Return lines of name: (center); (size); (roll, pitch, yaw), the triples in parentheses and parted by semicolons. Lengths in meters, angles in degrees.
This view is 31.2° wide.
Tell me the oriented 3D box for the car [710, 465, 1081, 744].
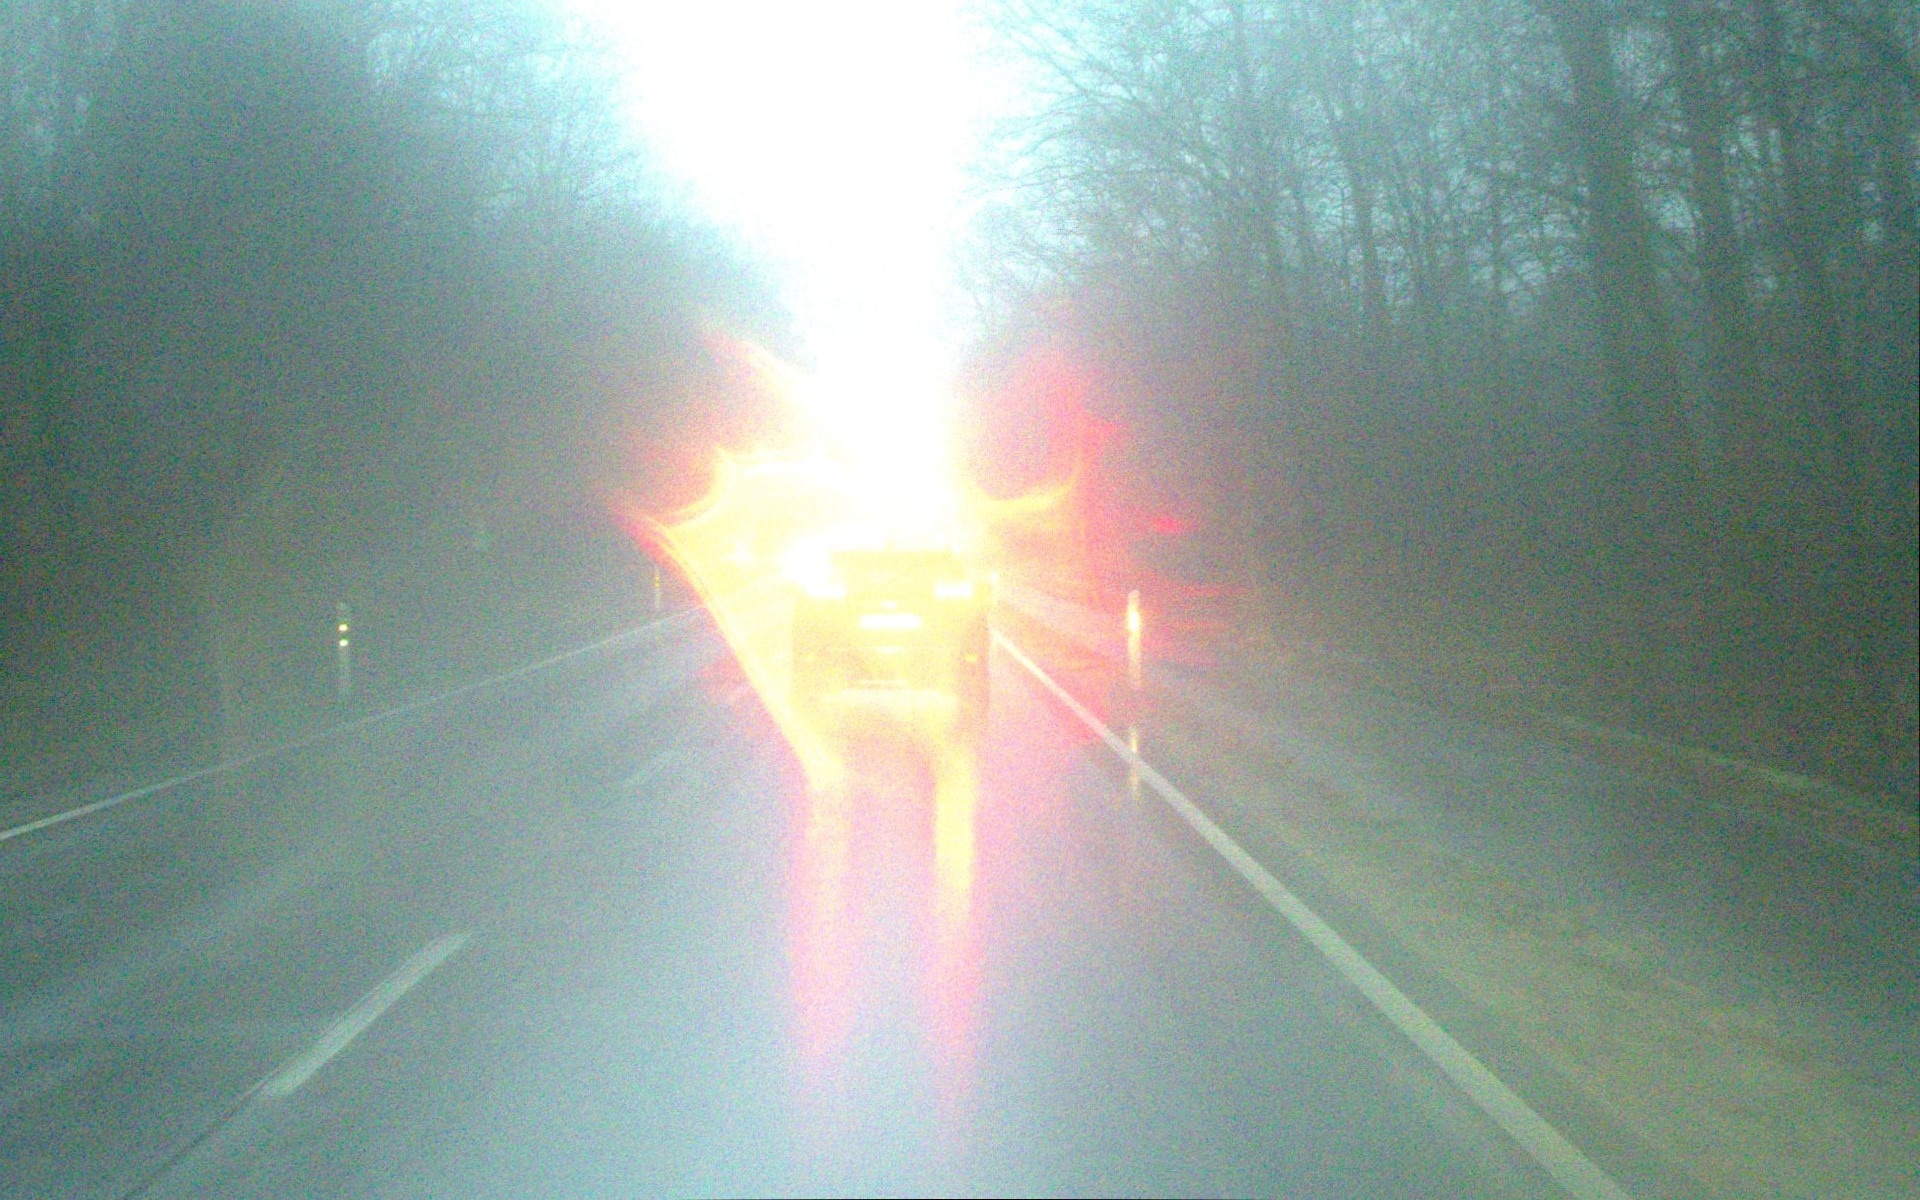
car: (-0.567, -0.005, 33.093); (3.183, 2.378, 6.636); (1, 1, 0)
